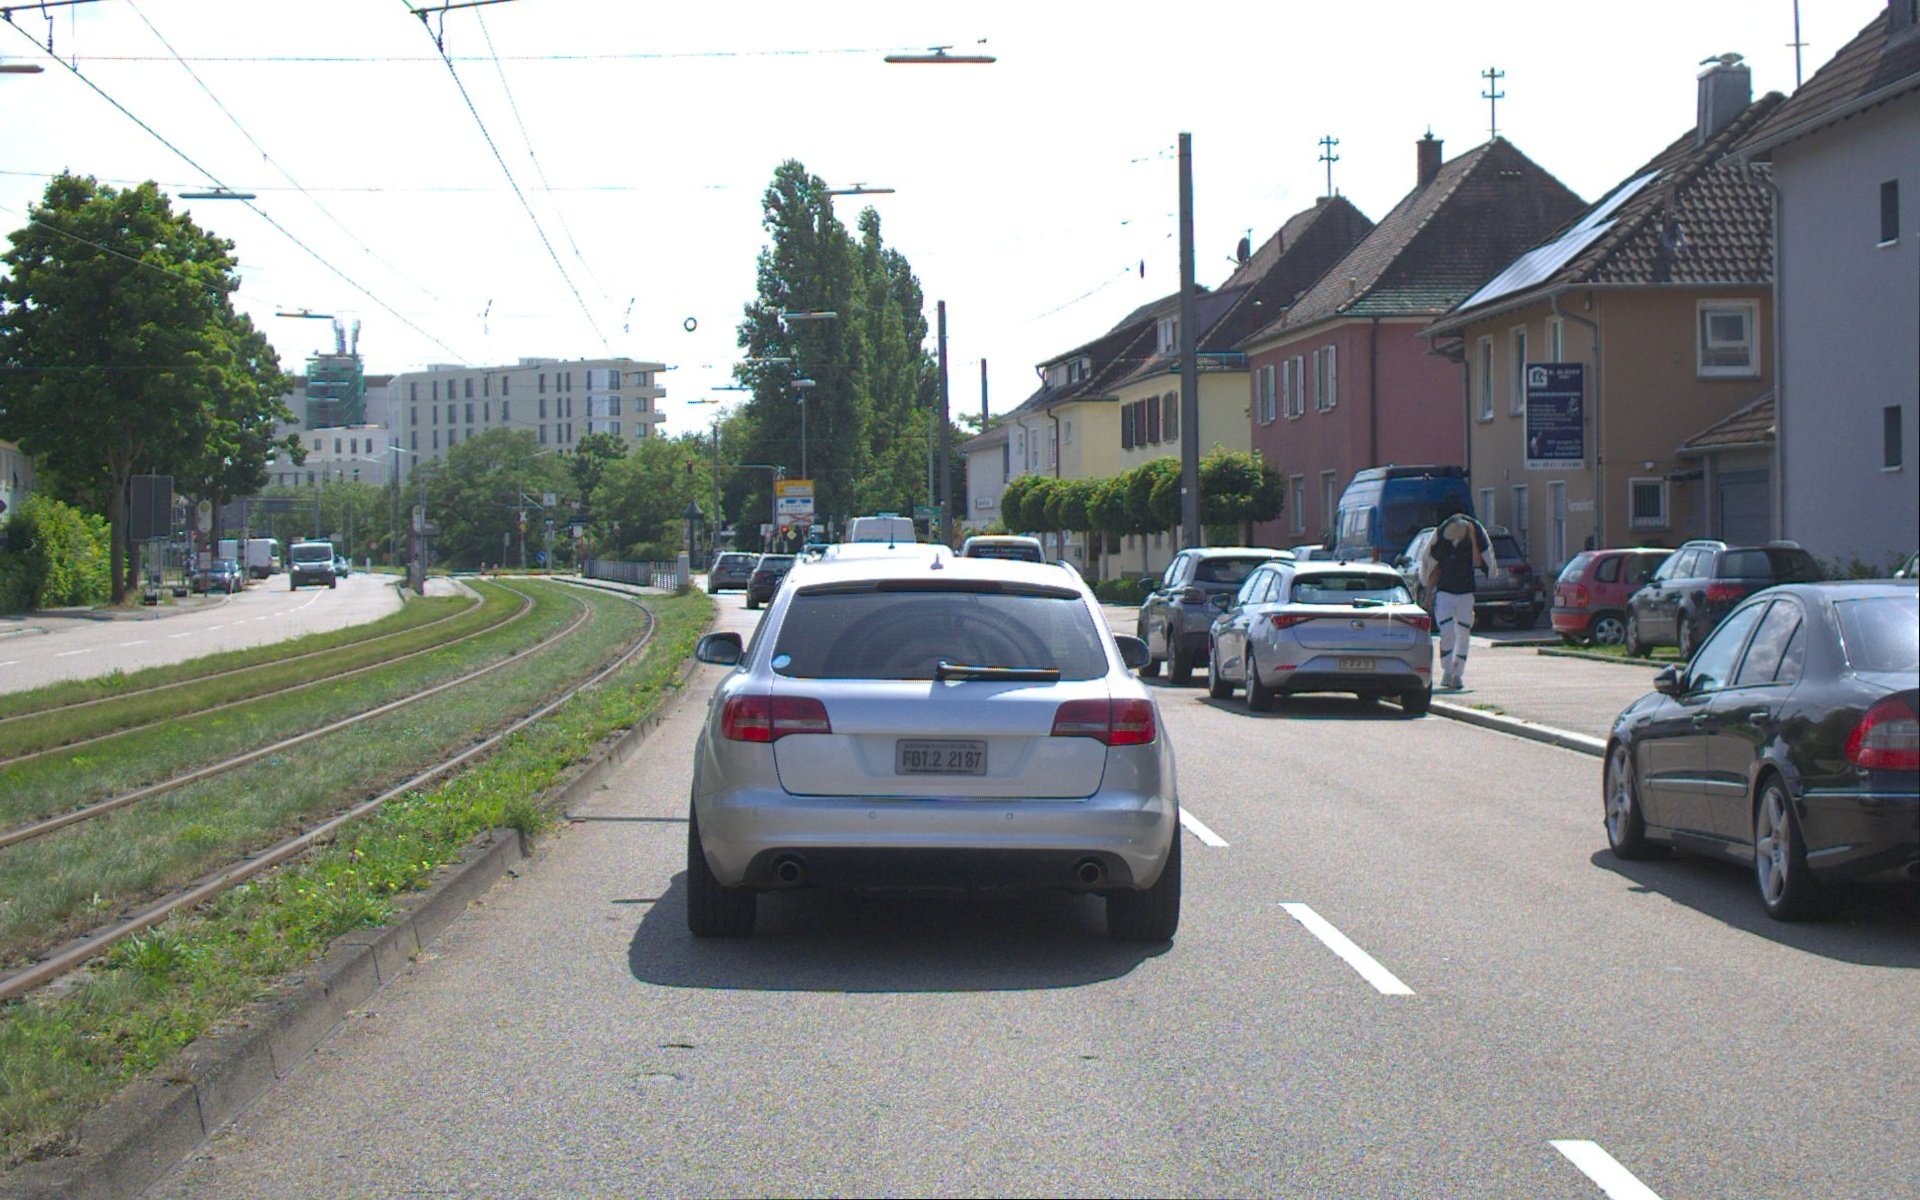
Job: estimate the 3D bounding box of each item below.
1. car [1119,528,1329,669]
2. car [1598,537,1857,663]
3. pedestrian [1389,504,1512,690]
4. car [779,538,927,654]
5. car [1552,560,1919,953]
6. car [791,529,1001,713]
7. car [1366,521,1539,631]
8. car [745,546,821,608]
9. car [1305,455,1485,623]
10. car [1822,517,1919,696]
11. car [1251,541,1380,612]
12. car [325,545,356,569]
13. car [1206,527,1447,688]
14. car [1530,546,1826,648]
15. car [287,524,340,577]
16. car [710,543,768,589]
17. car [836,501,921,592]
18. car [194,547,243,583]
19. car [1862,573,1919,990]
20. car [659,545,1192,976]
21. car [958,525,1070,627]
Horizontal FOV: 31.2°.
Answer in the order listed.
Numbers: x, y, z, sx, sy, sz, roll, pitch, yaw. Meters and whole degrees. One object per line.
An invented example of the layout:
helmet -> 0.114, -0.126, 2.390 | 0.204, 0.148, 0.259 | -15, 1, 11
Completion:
car -> 3.092, -0.033, 41.050 | 1.807, 1.554, 4.254 | 1, 0, -5
car -> 9.223, -0.034, 41.712 | 1.798, 1.419, 4.858 | -1, 1, -3
pedestrian -> 5.209, -0.034, 36.584 | 1.112, 1.939, 1.092 | 0, 0, -3
car -> -1.434, -0.085, 45.925 | 1.885, 1.461, 4.095 | 0, 1, -2
car -> 4.152, 0.581, 15.586 | 1.899, 1.439, 5.058 | 1, 1, -2
car -> -0.670, 0.160, 32.562 | 1.787, 1.571, 4.095 | 2, 1, -3
car -> 8.206, -0.434, 57.716 | 1.836, 1.705, 4.865 | -2, 1, -4
car -> -4.554, -0.584, 88.841 | 1.885, 1.525, 4.095 | 1, 0, -2
car -> 8.008, -1.096, 63.958 | 2.151, 2.920, 6.245 | 1, 0, -3
car -> 9.655, 0.044, 31.755 | 1.756, 1.641, 4.770 | -1, 0, -5
car -> 7.279, -0.481, 70.833 | 1.648, 1.404, 4.351 | -1, 0, -8
car -> -41.582, -2.881, 230.636 | 1.896, 1.536, 3.730 | 1, 0, -12
car -> 3.555, 0.056, 34.083 | 1.814, 1.449, 4.643 | 1, 0, -1
car -> 9.898, -0.040, 47.541 | 3.648, 1.375, 1.727 | 0, 0, -5
car -> -30.198, -2.295, 160.466 | 2.195, 2.364, 5.334 | -2, 1, -12
car -> -7.703, -1.169, 119.897 | 1.885, 1.525, 4.095 | 1, 0, -2
car -> -2.387, -1.549, 99.169 | 2.040, 2.549, 5.232 | 0, 1, -6
car -> -33.157, -1.592, 153.699 | 1.786, 1.578, 3.931 | 0, 1, -7
car -> 4.370, 0.662, 10.152 | 1.890, 1.450, 5.007 | 1, 0, -2
car -> -0.109, 0.535, 14.347 | 1.854, 1.487, 4.536 | 1, 1, 0
car -> 0.926, -0.440, 60.121 | 1.885, 1.725, 4.094 | 0, 1, 1
